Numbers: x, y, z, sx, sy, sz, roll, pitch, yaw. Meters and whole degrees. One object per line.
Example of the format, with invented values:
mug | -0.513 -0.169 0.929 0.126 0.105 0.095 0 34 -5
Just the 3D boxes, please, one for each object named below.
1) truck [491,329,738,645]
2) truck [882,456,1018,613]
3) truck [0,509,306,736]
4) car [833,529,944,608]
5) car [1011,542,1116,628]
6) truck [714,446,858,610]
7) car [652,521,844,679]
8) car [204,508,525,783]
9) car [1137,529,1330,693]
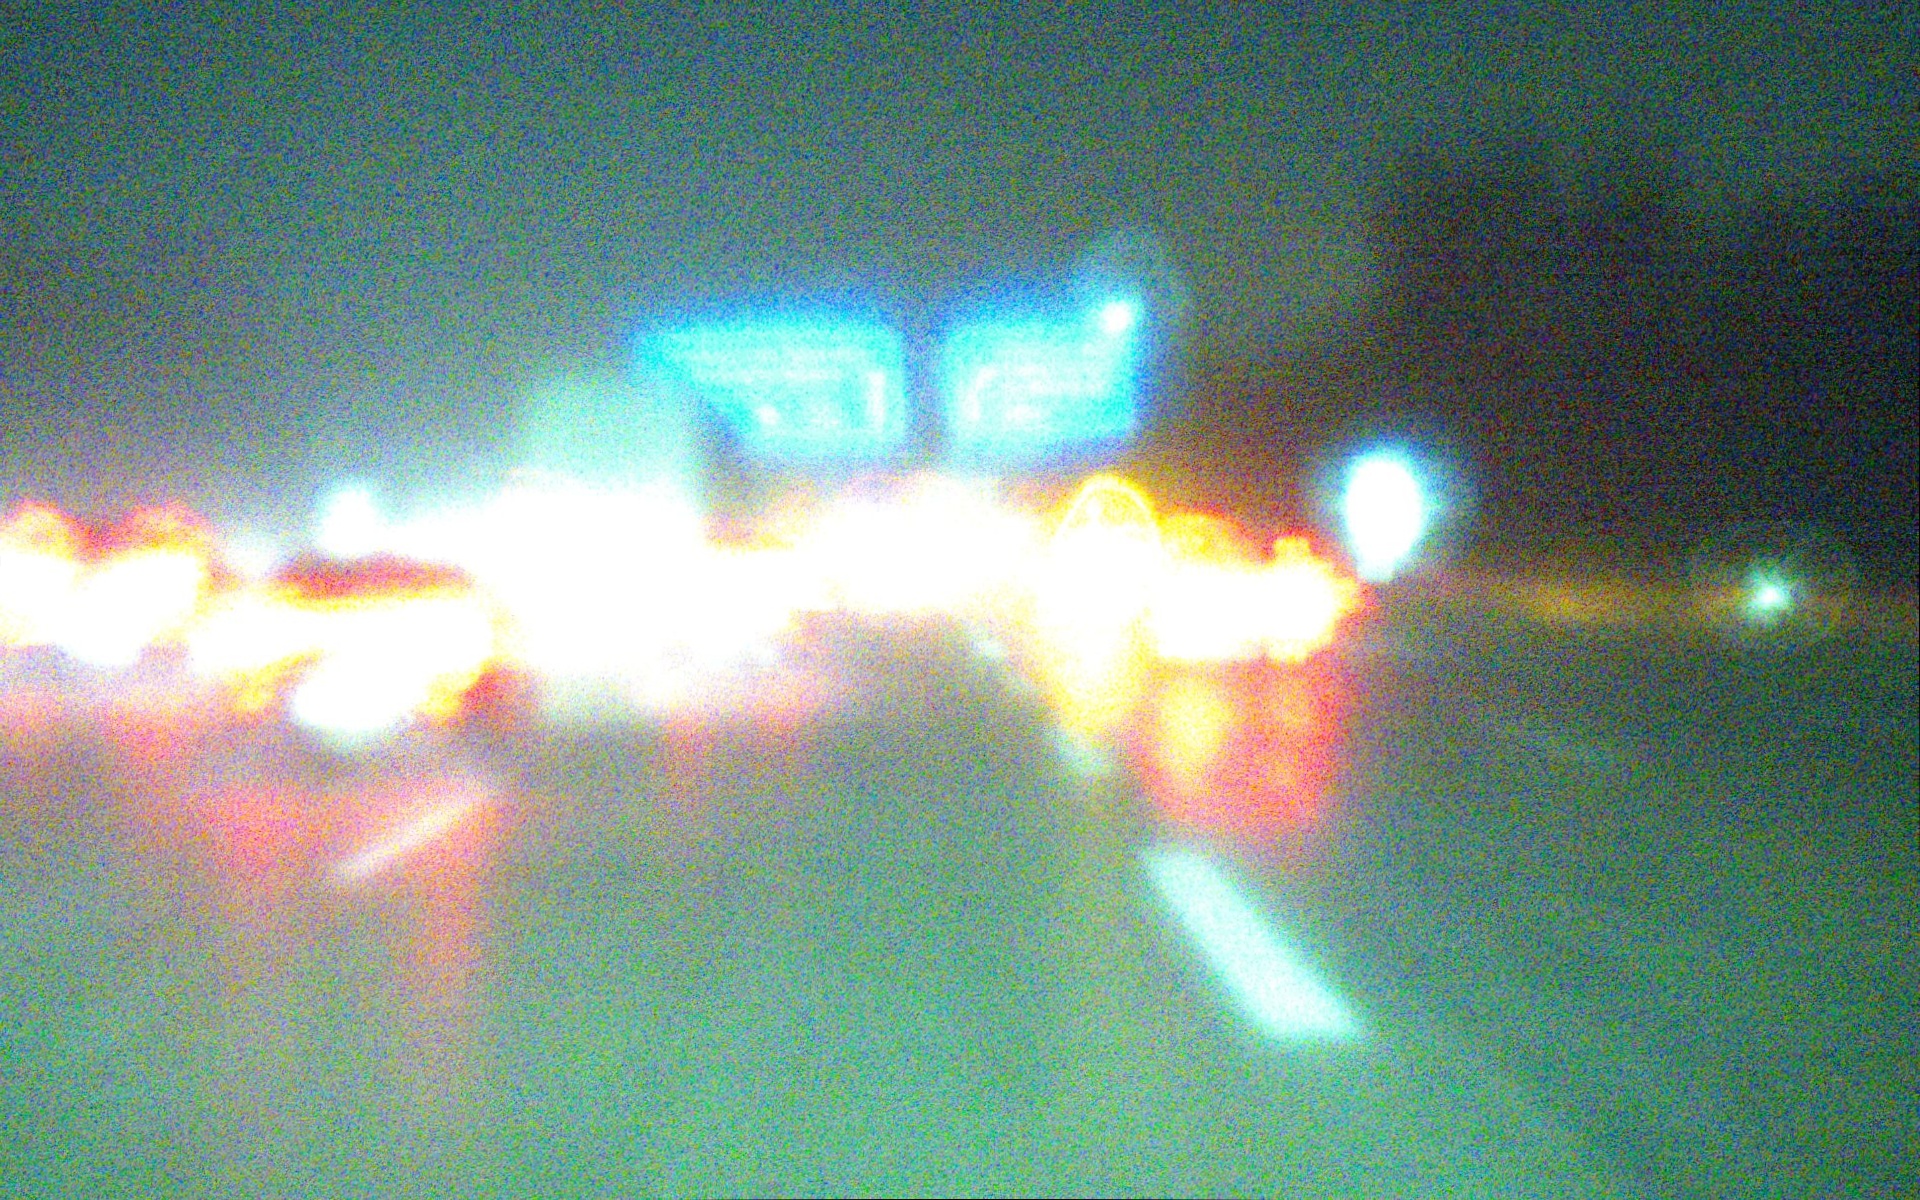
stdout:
truck | -5.623 -1.759 56.954 3.655 4.721 9.854 1 1 -5
truck | -0.436 -2.256 120.644 4.161 5.197 9.955 1 1 -3
truck | -8.835 0.187 36.739 2.857 2.193 5.859 1 1 -3
car | -1.883 -0.841 92.218 2.833 2.007 5.510 1 1 0
car | 2.122 -0.328 71.724 1.993 1.698 4.458 1 1 0
truck | -6.014 -2.472 121.025 4.254 5.425 10.884 1 1 1
car | -2.471 -0.021 41.060 2.039 1.755 4.516 1 1 -1
car | -3.918 0.233 23.170 1.765 1.683 4.001 0 1 -5
car | 3.088 0.103 39.535 1.878 1.756 4.000 1 1 0
